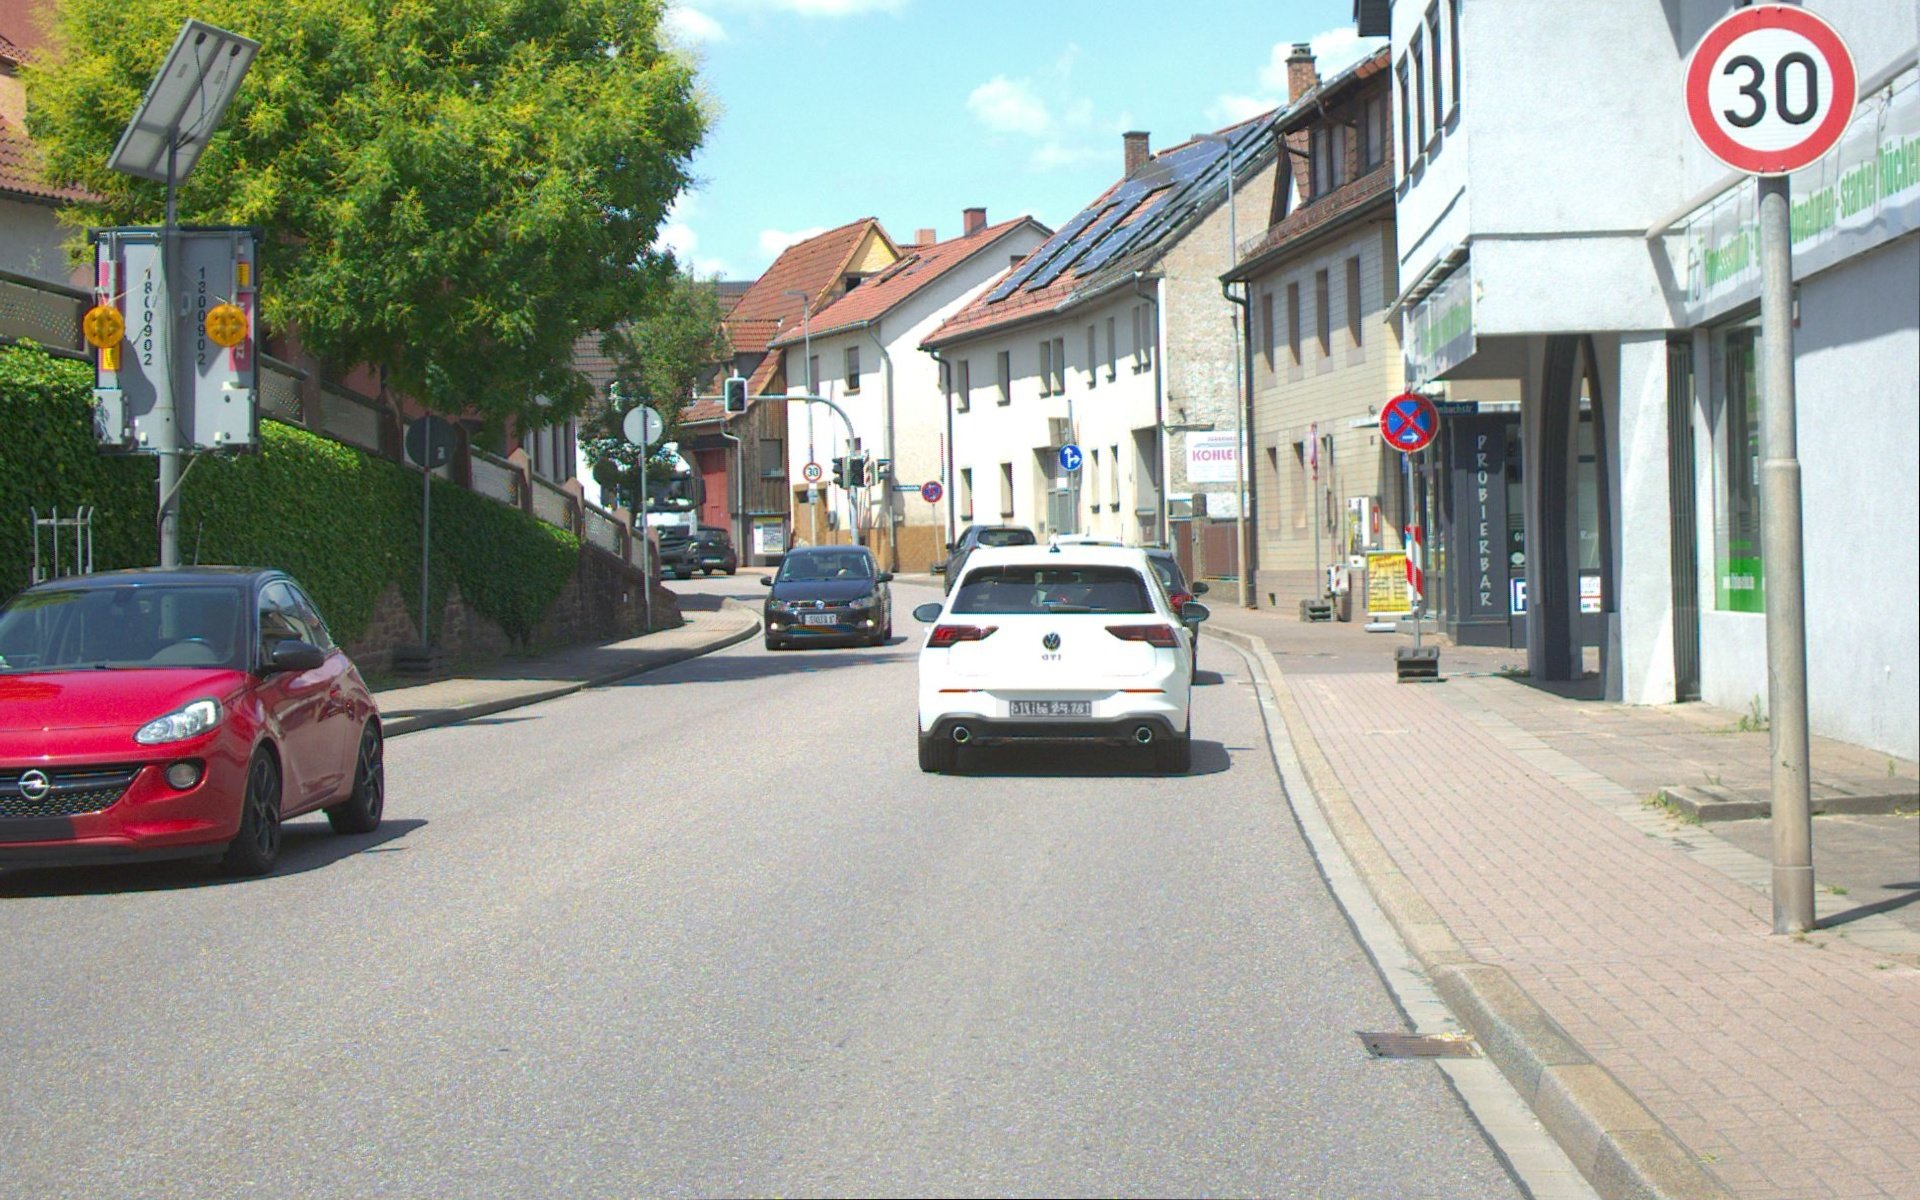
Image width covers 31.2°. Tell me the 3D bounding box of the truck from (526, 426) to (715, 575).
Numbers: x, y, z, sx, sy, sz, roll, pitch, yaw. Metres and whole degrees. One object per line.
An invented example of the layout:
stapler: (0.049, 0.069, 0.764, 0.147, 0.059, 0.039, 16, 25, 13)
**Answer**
truck: (-9.710, -2.759, 97.357, 2.645, 4.015, 9.192, -1, 1, -23)

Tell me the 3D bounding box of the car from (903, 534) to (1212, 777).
car: (0.567, 0.323, 23.140, 1.807, 1.462, 4.000, 1, 1, -2)

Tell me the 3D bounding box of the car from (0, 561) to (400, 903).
car: (-3.982, 0.572, 17.042, 1.617, 1.439, 3.801, -2, 1, 2)

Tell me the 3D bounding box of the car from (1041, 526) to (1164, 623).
car: (2.243, -0.413, 54.942, 1.808, 1.462, 4.000, 1, 1, 1)

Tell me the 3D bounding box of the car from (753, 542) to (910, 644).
car: (-1.790, -0.125, 49.059, 1.794, 1.373, 4.116, -1, 1, 4)

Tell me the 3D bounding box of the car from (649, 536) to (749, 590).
car: (-7.760, -1.109, 101.802, 1.775, 1.533, 4.001, -1, 1, -22)

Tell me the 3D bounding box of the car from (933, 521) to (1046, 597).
car: (0.589, -0.868, 72.577, 1.775, 1.533, 4.001, -1, 1, -8)
